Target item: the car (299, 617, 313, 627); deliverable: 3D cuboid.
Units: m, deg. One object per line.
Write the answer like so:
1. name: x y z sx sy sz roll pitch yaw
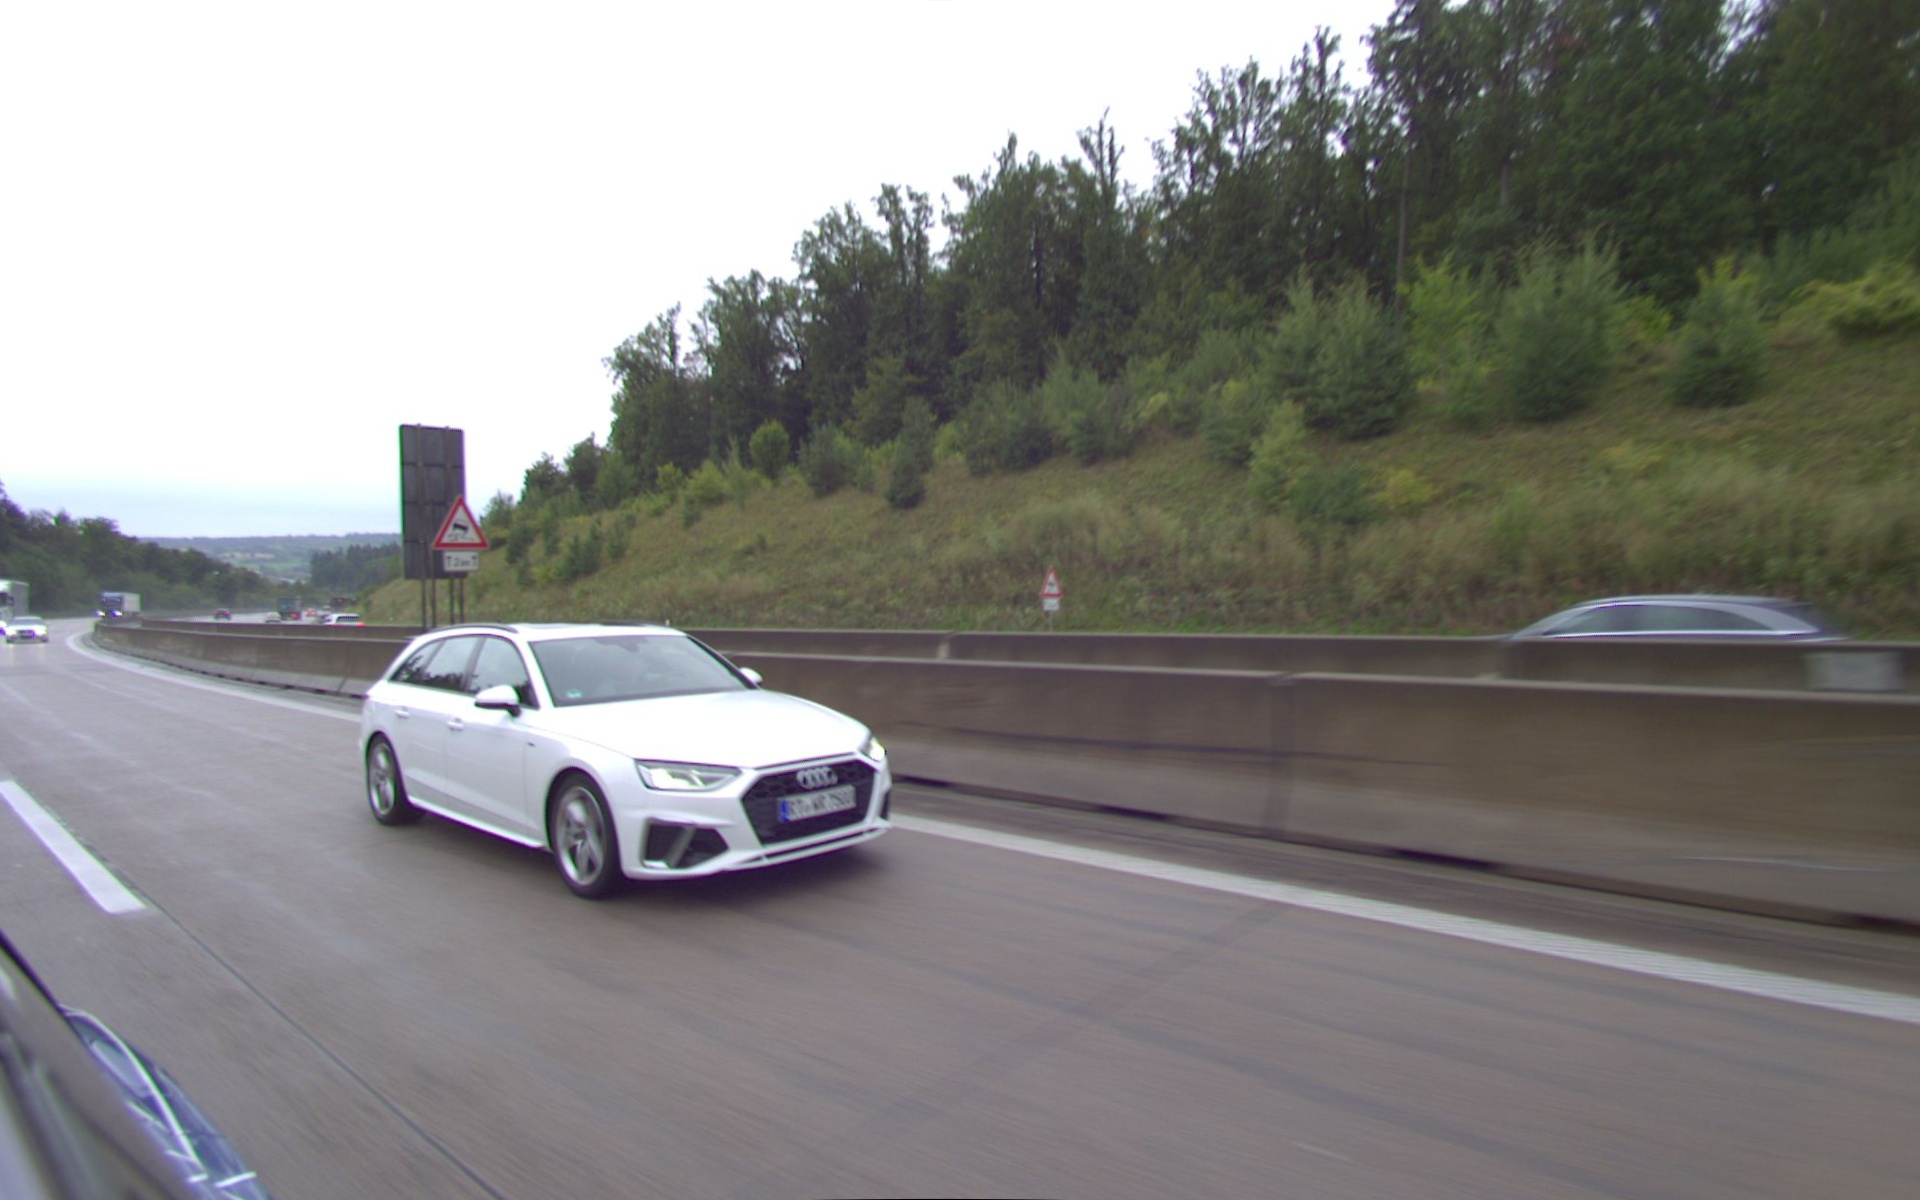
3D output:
1. car: -134.014 4.477 207.430 2.074 2.029 4.009 0 -1 -37

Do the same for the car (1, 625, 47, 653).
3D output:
1. car: -52.239 2.143 56.533 1.823 1.494 4.454 0 -1 -42

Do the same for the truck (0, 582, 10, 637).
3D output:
1. truck: -74.056 0.816 76.772 2.689 4.071 5.759 -2 0 -42

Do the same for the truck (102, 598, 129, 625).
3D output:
1. truck: -133.966 1.792 160.586 2.695 4.183 8.640 0 -1 -37

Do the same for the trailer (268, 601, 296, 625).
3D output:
1. trailer: -112.462 2.172 167.710 2.870 3.918 11.056 1 -1 -39

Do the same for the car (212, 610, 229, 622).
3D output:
1. car: -113.150 2.487 154.883 1.709 1.790 4.766 1 -1 -40

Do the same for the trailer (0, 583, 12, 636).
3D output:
1. trailer: -78.911 0.912 82.085 2.647 4.071 13.720 -2 0 -42

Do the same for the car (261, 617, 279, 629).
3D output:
1. car: -95.014 3.178 139.337 1.709 1.588 4.252 1 -1 -39

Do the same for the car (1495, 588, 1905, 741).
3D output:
1. car: 9.254 0.728 12.923 3.998 1.651 1.758 -1 -1 41

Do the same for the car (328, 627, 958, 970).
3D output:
1. car: -2.397 0.907 6.613 4.935 1.418 1.694 -1 -1 42

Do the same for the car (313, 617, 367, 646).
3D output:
1. car: -34.551 1.725 56.354 1.756 1.529 4.003 1 -1 -44
